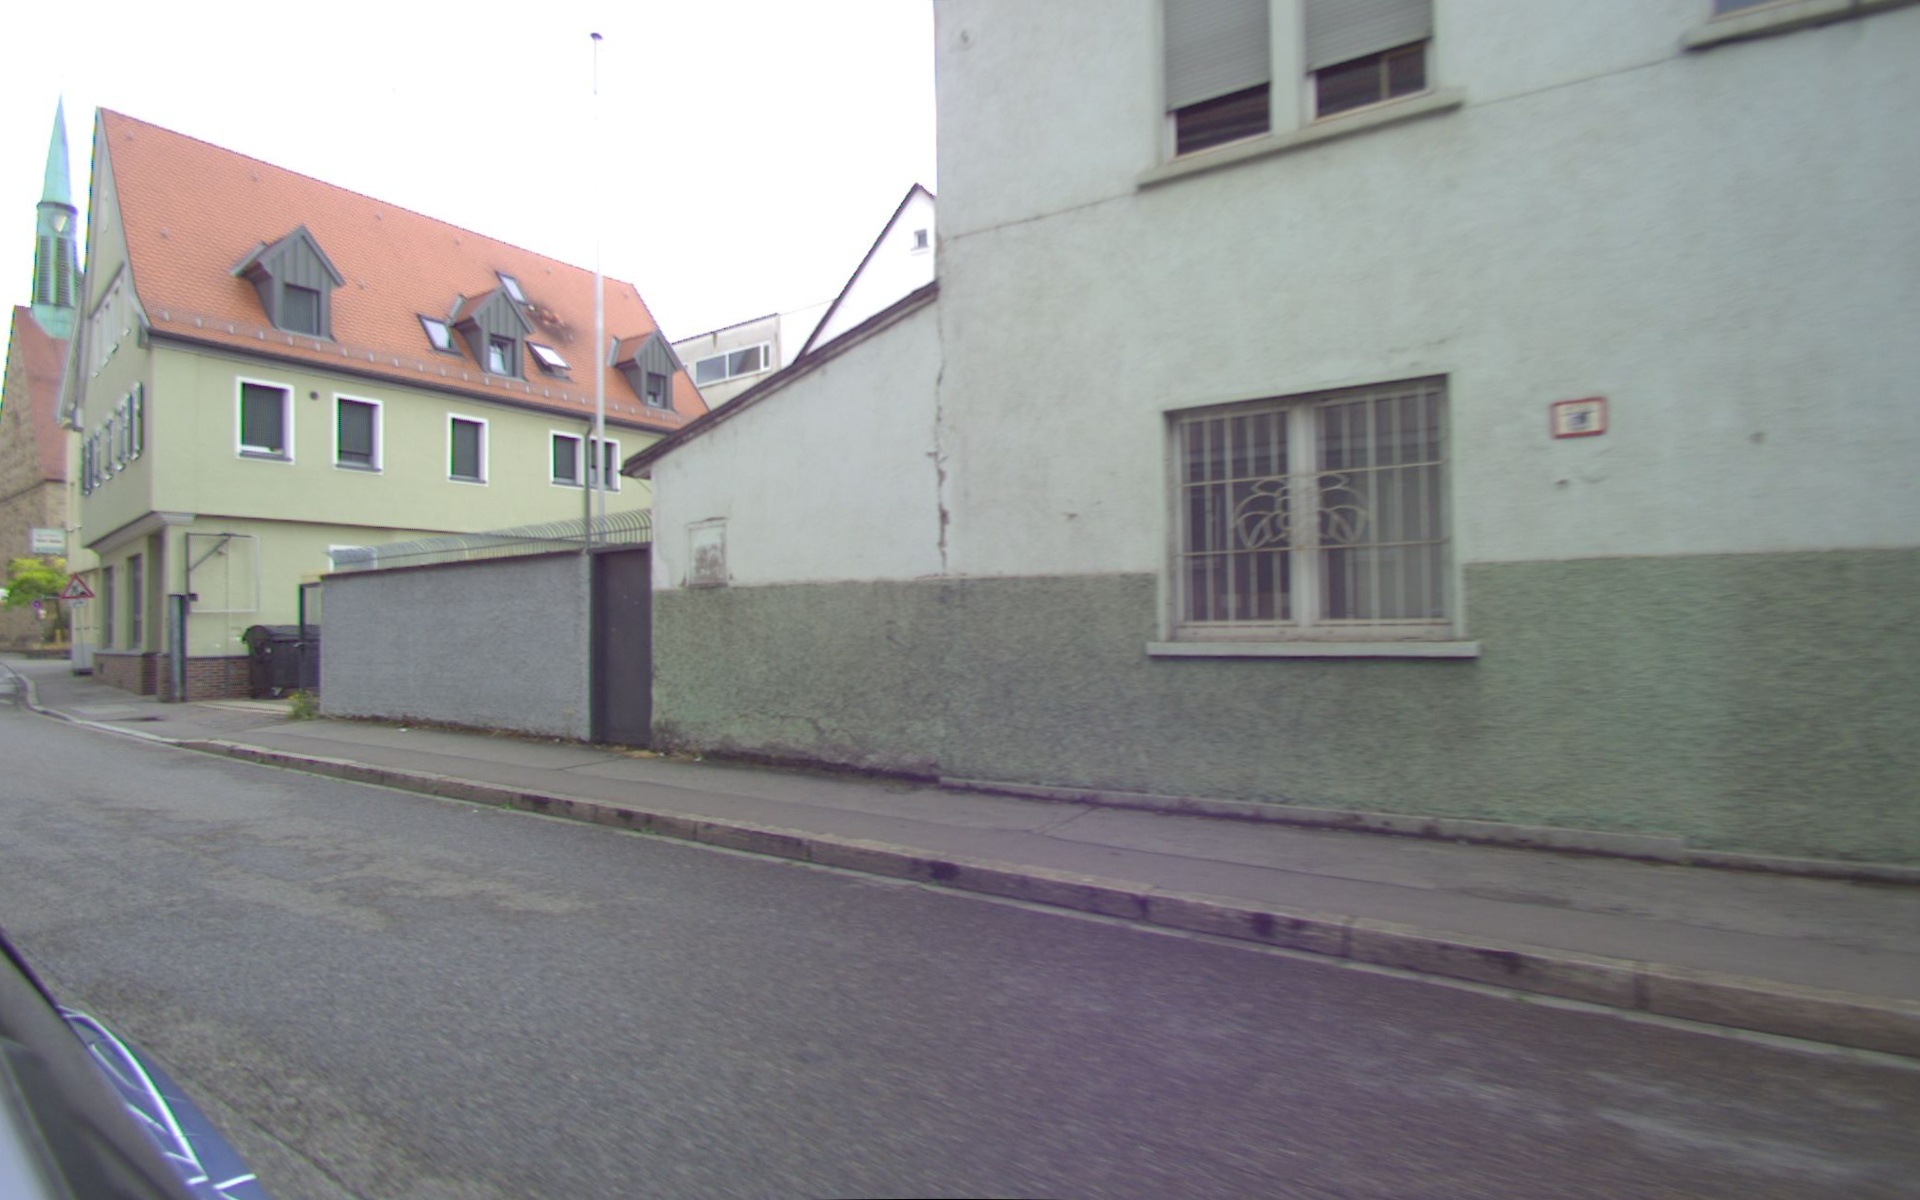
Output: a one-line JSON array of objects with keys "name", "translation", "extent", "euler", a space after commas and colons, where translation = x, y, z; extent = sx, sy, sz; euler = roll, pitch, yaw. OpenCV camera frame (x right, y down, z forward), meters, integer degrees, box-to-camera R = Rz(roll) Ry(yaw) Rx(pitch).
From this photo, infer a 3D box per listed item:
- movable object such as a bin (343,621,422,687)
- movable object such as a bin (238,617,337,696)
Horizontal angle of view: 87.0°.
[{"name": "movable object such as a bin", "translation": [-12.524, 1.147, 21.939], "extent": [1.059, 1.371, 1.229], "euler": [-2, -1, 43]}, {"name": "movable object such as a bin", "translation": [-13.406, 1.100, 20.197], "extent": [1.096, 1.487, 1.298], "euler": [-1, -1, 30]}]
